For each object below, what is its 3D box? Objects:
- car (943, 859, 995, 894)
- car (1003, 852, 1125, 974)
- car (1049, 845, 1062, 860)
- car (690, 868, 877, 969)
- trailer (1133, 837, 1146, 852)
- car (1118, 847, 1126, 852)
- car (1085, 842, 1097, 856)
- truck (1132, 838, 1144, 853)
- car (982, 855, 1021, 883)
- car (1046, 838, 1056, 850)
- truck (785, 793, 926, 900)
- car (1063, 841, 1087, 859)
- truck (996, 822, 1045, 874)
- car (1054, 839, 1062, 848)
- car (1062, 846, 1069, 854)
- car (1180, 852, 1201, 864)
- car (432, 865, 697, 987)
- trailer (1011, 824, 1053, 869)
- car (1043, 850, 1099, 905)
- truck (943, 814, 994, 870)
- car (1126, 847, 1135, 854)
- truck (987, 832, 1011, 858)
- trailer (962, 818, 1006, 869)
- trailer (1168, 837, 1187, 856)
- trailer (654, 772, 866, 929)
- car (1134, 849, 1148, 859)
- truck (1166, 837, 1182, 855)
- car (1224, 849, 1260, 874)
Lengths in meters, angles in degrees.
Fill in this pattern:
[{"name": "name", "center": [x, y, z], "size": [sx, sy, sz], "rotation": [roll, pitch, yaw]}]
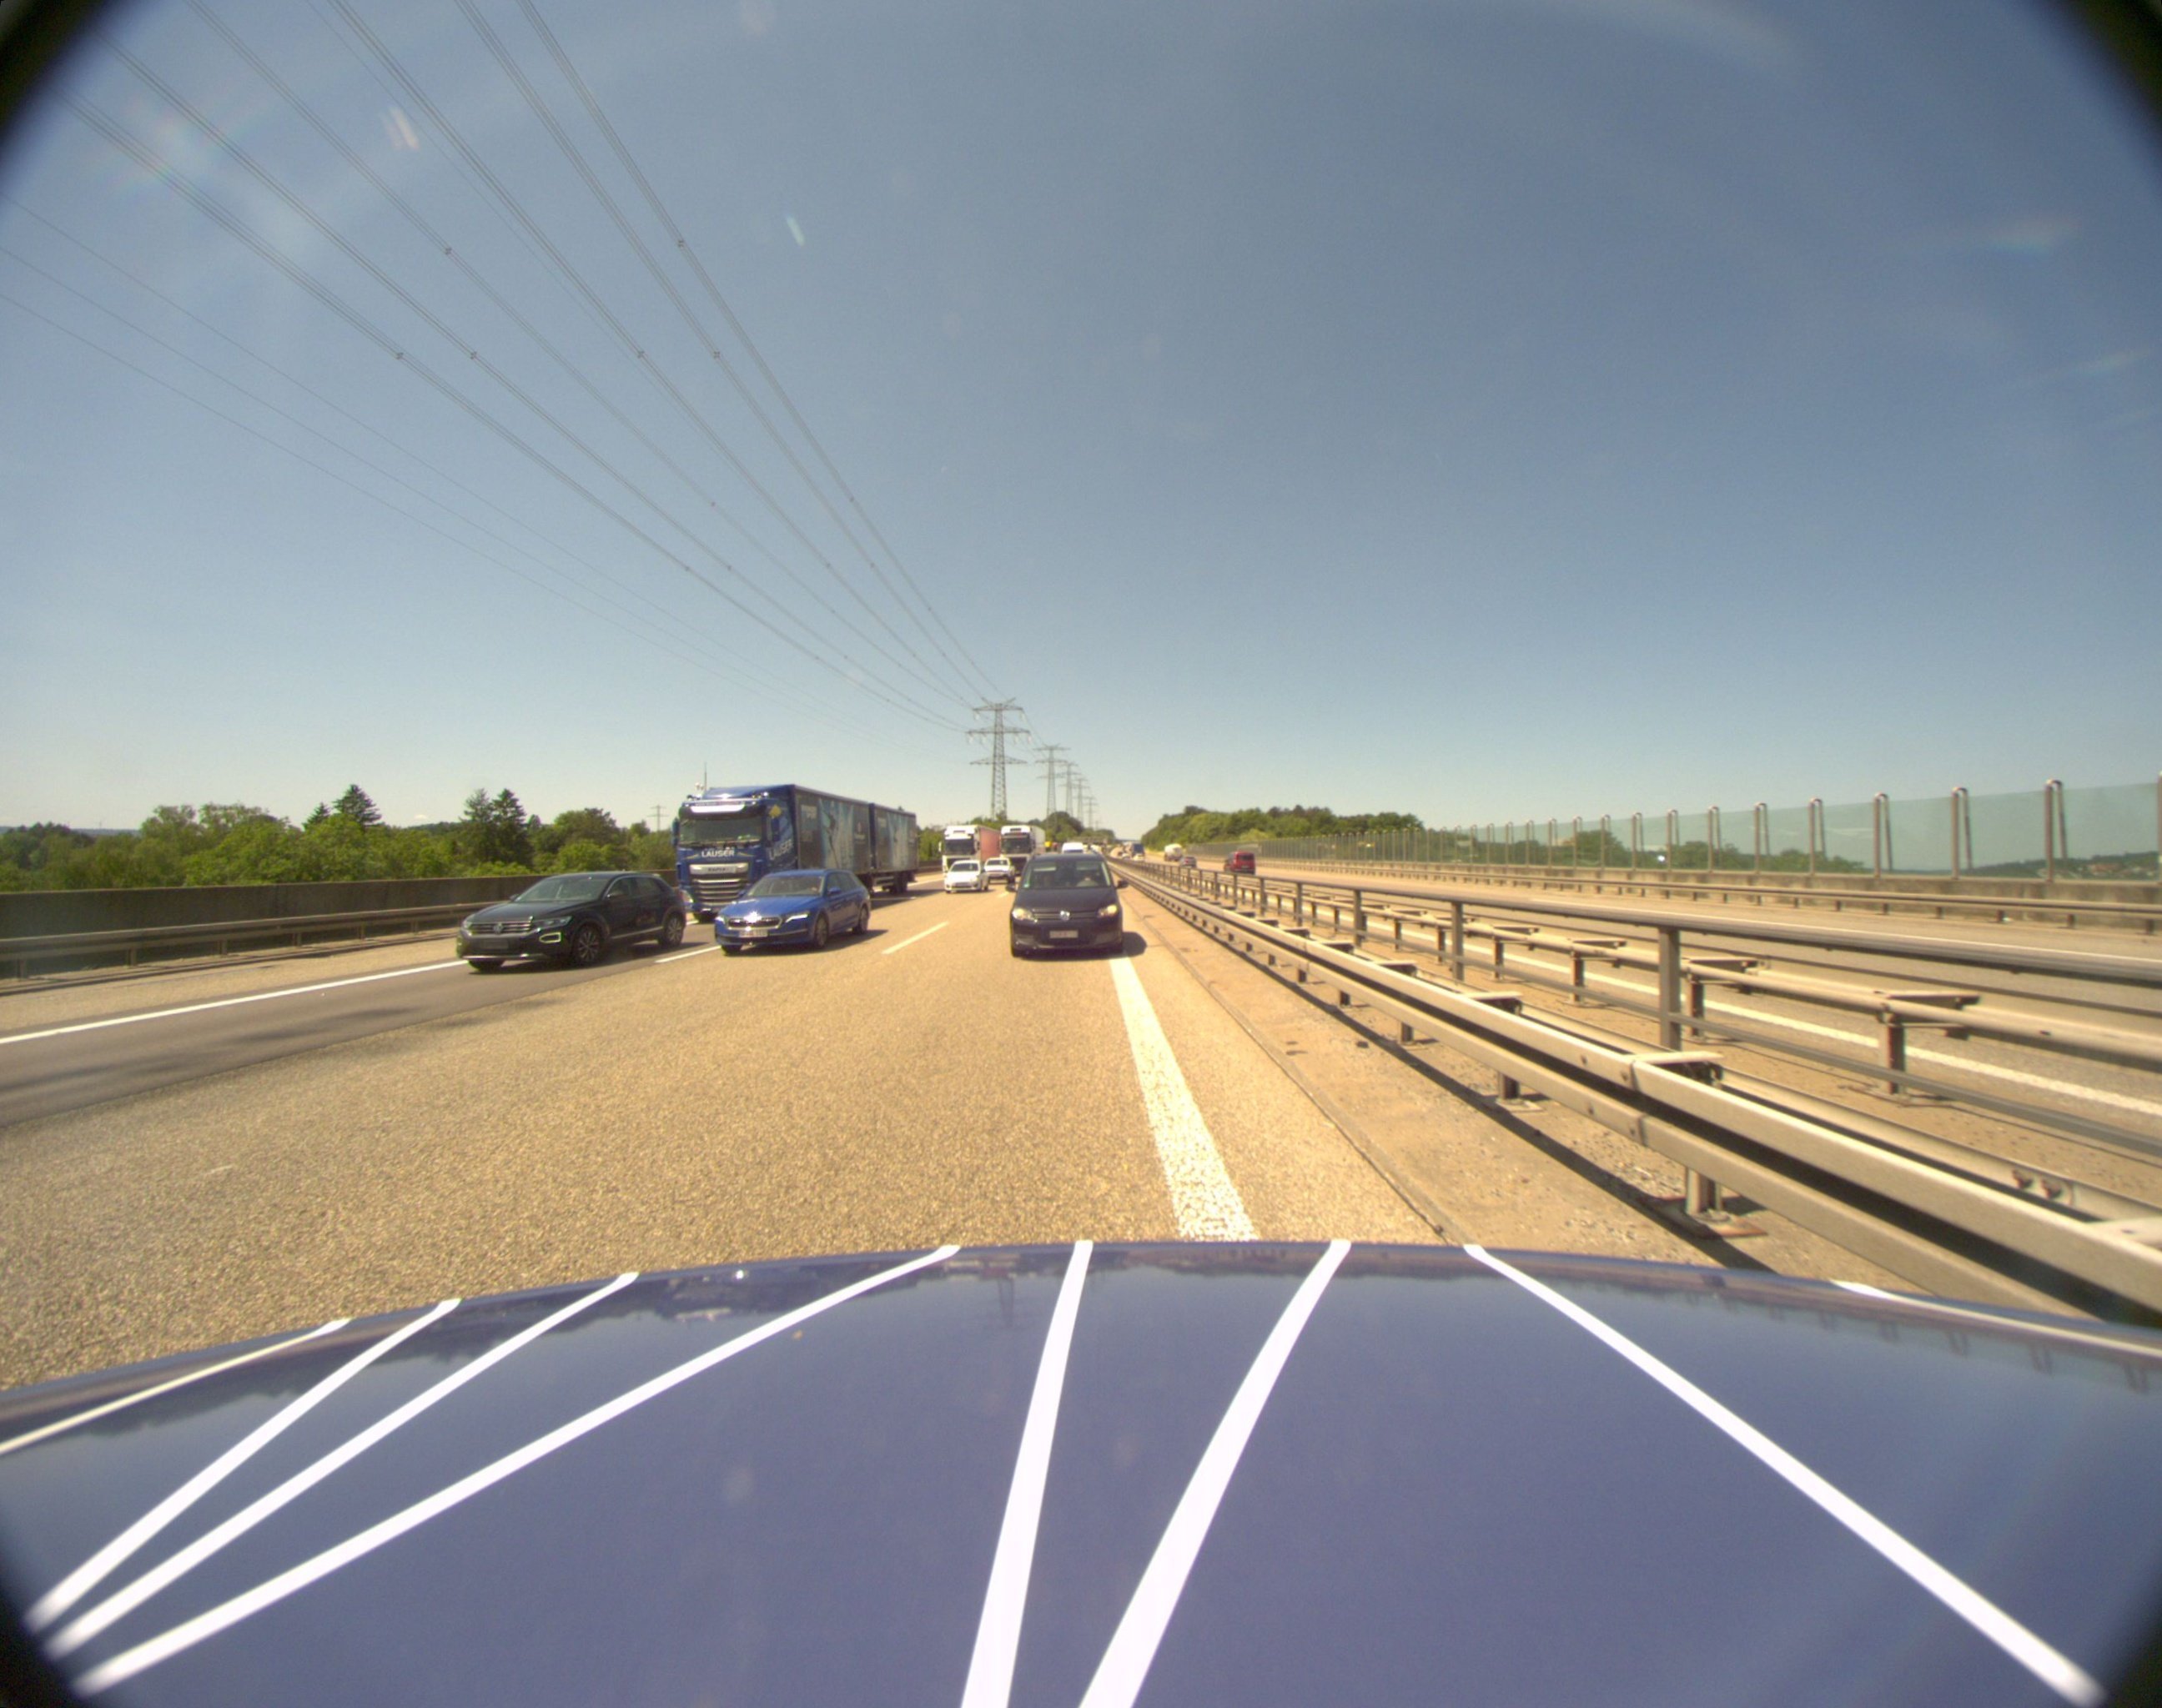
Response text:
[{"name": "car", "center": [-5.210, 1.008, 35.813], "size": [1.712, 1.443, 4.144], "rotation": [-2, 1, 1]}, {"name": "car", "center": [-0.234, 0.854, 12.974], "size": [1.713, 1.669, 3.931], "rotation": [-2, 1, 0]}, {"name": "car", "center": [-3.700, -0.252, 110.270], "size": [1.704, 2.116, 3.999], "rotation": [2, 1, 1]}, {"name": "car", "center": [-5.504, 1.105, 14.787], "size": [1.712, 1.443, 4.563], "rotation": [-2, 1, 1]}, {"name": "trailer", "center": [15.764, -2.584, 205.400], "size": [2.711, 4.141, 12.047], "rotation": [0, 1, 0]}, {"name": "car", "center": [12.694, -1.454, 235.957], "size": [1.887, 1.543, 4.188], "rotation": [-2, 1, -1]}, {"name": "car", "center": [1.570, -0.751, 118.378], "size": [1.704, 2.116, 3.999], "rotation": [-2, 1, 1]}, {"name": "truck", "center": [15.780, -2.480, 211.385], "size": [2.760, 4.093, 6.264], "rotation": [0, 1, 0]}, {"name": "car", "center": [-4.669, 0.860, 45.182], "size": [1.712, 1.501, 4.144], "rotation": [-2, 1, 1]}, {"name": "car", "center": [-6.075, -2.028, 155.603], "size": [1.704, 2.525, 3.999], "rotation": [2, 1, 1]}, {"name": "truck", "center": [-9.613, -0.345, 34.044], "size": [2.859, 3.927, 10.393], "rotation": [-2, 1, 1]}, {"name": "car", "center": [-0.514, -0.352, 65.709], "size": [1.924, 1.501, 3.996], "rotation": [-2, 1, 1]}, {"name": "truck", "center": [-4.715, -0.534, 61.258], "size": [2.849, 3.804, 8.264], "rotation": [-2, 1, 2]}, {"name": "car", "center": [-5.544, -2.469, 184.363], "size": [1.704, 2.116, 3.999], "rotation": [2, 1, 1]}, {"name": "car", "center": [-4.473, -1.227, 217.796], "size": [1.704, 2.116, 3.999], "rotation": [2, 1, 1]}, {"name": "car", "center": [13.318, 0.501, 92.679], "size": [1.876, 1.434, 4.384], "rotation": [1, 1, 0]}, {"name": "car", "center": [-8.738, 1.109, 13.386], "size": [1.712, 1.645, 4.117], "rotation": [-2, 1, 1]}, {"name": "trailer", "center": [-4.404, -0.710, 69.927], "size": [2.822, 3.830, 9.085], "rotation": [-2, 1, 2]}, {"name": "car", "center": [-0.302, 0.732, 26.158], "size": [1.713, 1.669, 3.931], "rotation": [-2, 1, 0]}, {"name": "truck", "center": [-8.657, -0.945, 59.510], "size": [2.608, 3.964, 8.263], "rotation": [-2, 1, 0]}, {"name": "car", "center": [11.963, -0.917, 184.146], "size": [1.811, 1.630, 3.999], "rotation": [1, 1, -1]}, {"name": "truck", "center": [-10.013, -1.088, 93.059], "size": [2.251, 2.965, 6.242], "rotation": [2, 1, -1]}, {"name": "trailer", "center": [-8.577, -0.935, 68.183], "size": [2.608, 4.094, 9.083], "rotation": [-2, 1, 0]}, {"name": "trailer", "center": [18.774, -1.537, 148.614], "size": [2.505, 3.520, 10.902], "rotation": [0, 1, 1]}, {"name": "trailer", "center": [-9.737, -0.138, 24.480], "size": [2.835, 4.066, 8.637], "rotation": [-2, 1, 1]}, {"name": "car", "center": [9.909, -0.038, 124.992], "size": [1.876, 1.521, 3.608], "rotation": [4, 0, 0]}, {"name": "truck", "center": [18.853, -1.604, 154.099], "size": [2.527, 3.514, 5.329], "rotation": [0, 1, 1]}, {"name": "car", "center": [12.580, 0.558, 59.631], "size": [1.844, 1.812, 4.746], "rotation": [0, 1, 0]}]
